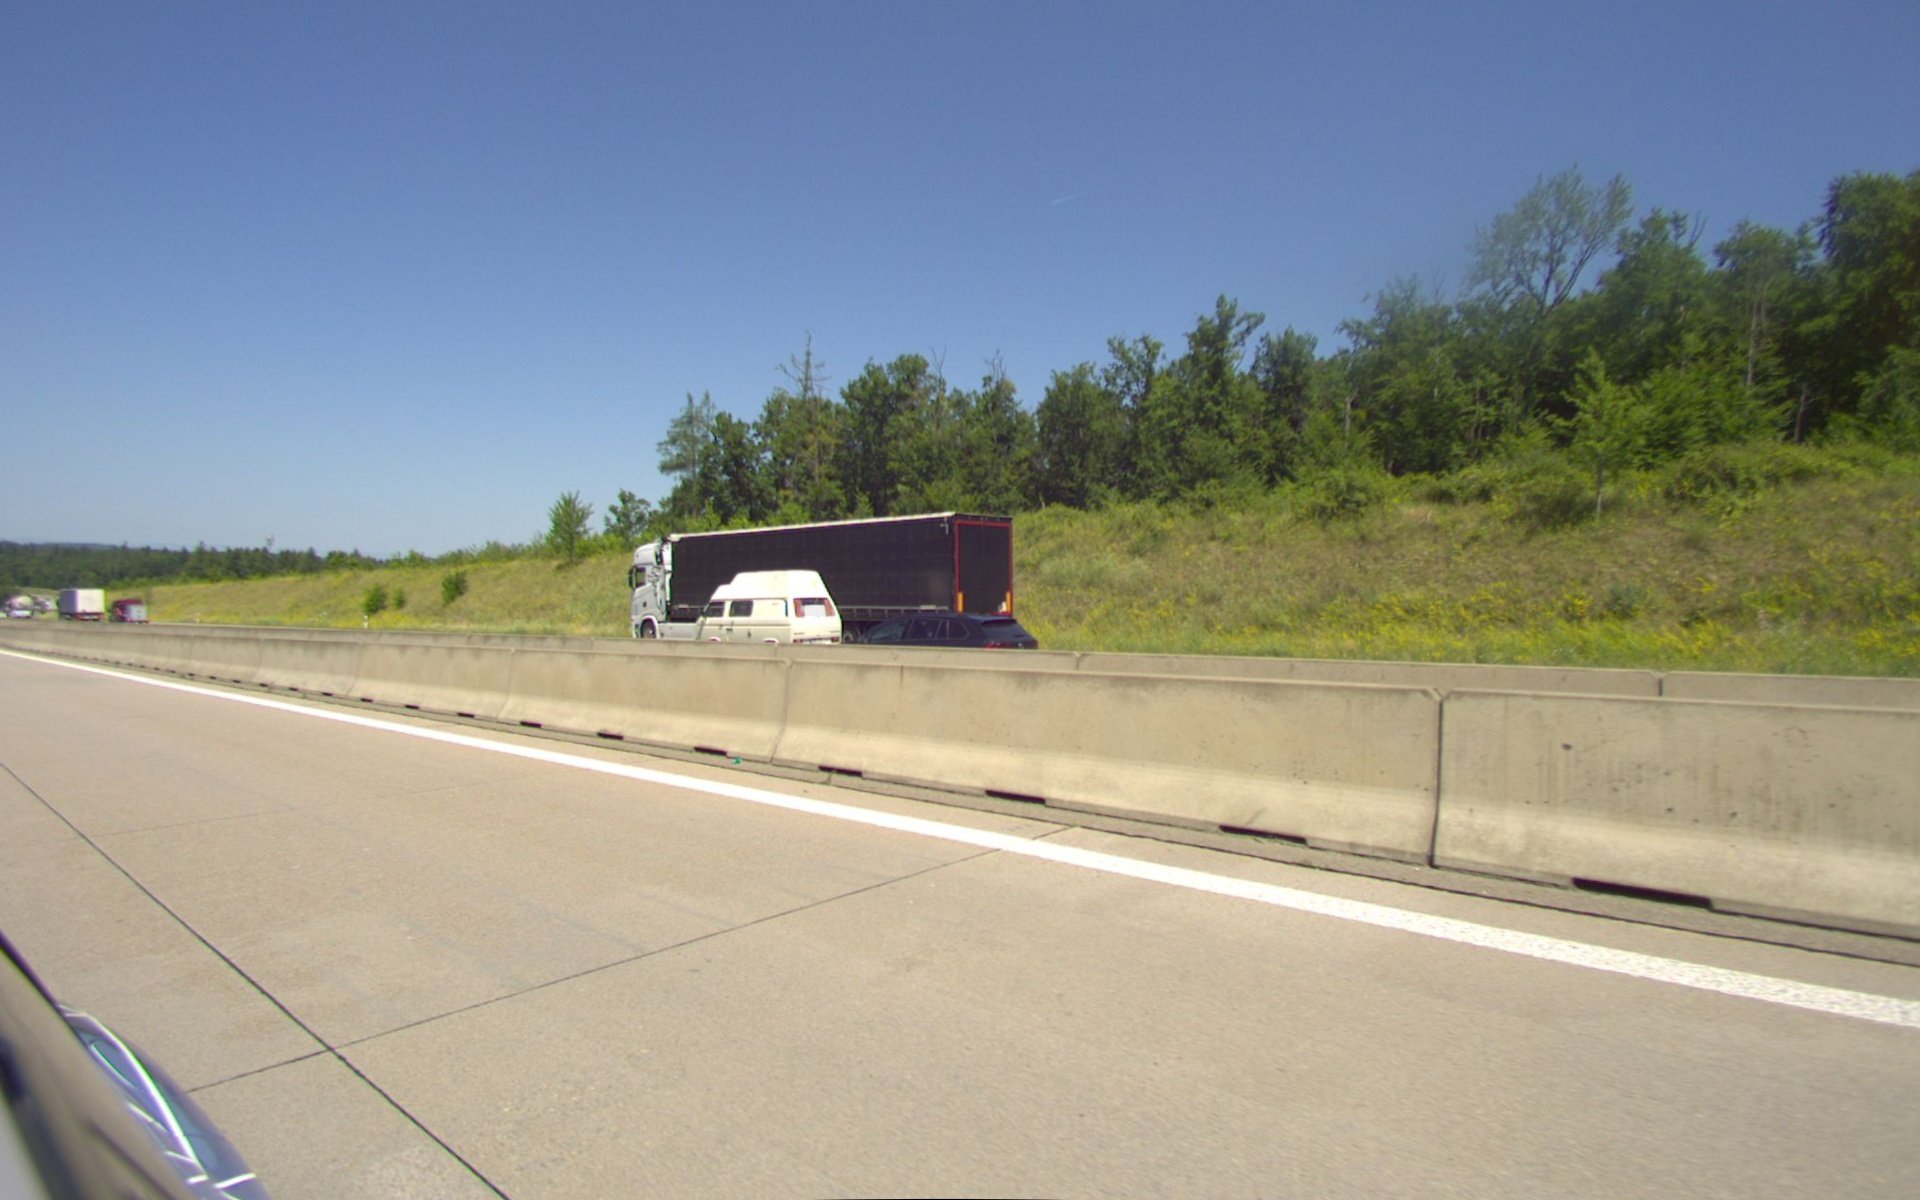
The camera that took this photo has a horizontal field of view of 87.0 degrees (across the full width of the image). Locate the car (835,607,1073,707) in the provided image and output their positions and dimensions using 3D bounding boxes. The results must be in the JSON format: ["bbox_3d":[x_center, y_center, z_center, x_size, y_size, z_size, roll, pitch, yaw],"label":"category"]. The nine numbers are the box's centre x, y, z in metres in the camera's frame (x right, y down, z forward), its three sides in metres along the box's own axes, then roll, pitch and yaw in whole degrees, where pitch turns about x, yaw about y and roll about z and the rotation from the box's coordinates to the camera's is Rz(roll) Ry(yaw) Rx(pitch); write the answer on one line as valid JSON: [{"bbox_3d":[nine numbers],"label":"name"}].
[{"bbox_3d":[-0.184,0.949,18.258,4.041,1.595,1.972,-1,-1,42],"label":"car"}]

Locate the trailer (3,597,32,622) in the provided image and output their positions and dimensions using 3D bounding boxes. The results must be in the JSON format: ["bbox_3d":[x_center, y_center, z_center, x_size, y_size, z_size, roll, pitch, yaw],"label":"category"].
[{"bbox_3d":[-162.306,1.659,174.228,9.332,4.200,2.902,0,-1,42],"label":"trailer"}]

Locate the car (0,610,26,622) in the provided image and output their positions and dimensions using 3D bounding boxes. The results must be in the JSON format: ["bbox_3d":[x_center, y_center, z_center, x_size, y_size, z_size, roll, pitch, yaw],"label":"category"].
[{"bbox_3d":[-123.389,2.053,131.873,5.517,1.595,1.972,0,-1,42],"label":"car"}]

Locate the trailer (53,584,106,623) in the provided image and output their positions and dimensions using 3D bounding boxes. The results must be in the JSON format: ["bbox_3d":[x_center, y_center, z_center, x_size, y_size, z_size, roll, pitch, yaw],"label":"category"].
[{"bbox_3d":[-108.206,0.449,124.279,13.735,4.538,3.222,0,-1,42],"label":"trailer"}]

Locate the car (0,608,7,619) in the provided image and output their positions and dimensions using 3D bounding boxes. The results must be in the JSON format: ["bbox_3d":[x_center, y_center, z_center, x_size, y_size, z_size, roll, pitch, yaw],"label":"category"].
[{"bbox_3d":[-149.078,2.088,156.656,4.528,1.595,1.972,0,-1,42],"label":"car"}]

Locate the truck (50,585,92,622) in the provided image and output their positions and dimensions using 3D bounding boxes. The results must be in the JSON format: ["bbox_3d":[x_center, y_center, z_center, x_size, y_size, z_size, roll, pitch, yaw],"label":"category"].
[{"bbox_3d":[-113.155,0.467,128.749,6.573,4.538,3.222,0,-1,42],"label":"truck"}]

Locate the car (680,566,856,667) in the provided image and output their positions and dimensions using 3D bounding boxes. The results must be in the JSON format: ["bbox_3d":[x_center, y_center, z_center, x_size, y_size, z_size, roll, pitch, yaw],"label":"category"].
[{"bbox_3d":[-5.309,0.439,27.510,5.177,2.504,1.972,-1,-1,42],"label":"car"}]

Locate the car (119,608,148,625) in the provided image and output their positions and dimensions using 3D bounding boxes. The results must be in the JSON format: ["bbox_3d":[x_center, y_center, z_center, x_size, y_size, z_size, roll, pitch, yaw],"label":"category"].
[{"bbox_3d":[-82.574,1.637,101.119,3.575,1.613,1.597,0,-3,42],"label":"car"}]

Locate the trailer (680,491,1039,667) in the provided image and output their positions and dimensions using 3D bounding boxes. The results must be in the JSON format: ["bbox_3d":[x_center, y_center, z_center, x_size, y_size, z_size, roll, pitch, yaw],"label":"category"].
[{"bbox_3d":[-3.707,-0.518,31.650,13.116,4.538,3.222,0,-1,42],"label":"trailer"}]

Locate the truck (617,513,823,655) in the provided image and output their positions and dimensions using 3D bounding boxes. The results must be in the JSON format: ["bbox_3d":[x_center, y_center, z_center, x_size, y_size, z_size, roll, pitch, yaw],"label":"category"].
[{"bbox_3d":[-8.722,-0.484,36.149,7.983,4.538,3.222,0,-1,42],"label":"truck"}]

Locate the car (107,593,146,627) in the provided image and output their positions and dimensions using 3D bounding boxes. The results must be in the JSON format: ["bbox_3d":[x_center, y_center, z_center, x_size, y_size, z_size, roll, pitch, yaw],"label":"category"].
[{"bbox_3d":[-84.104,1.015,102.058,7.057,3.266,1.973,-1,-1,41],"label":"car"}]
